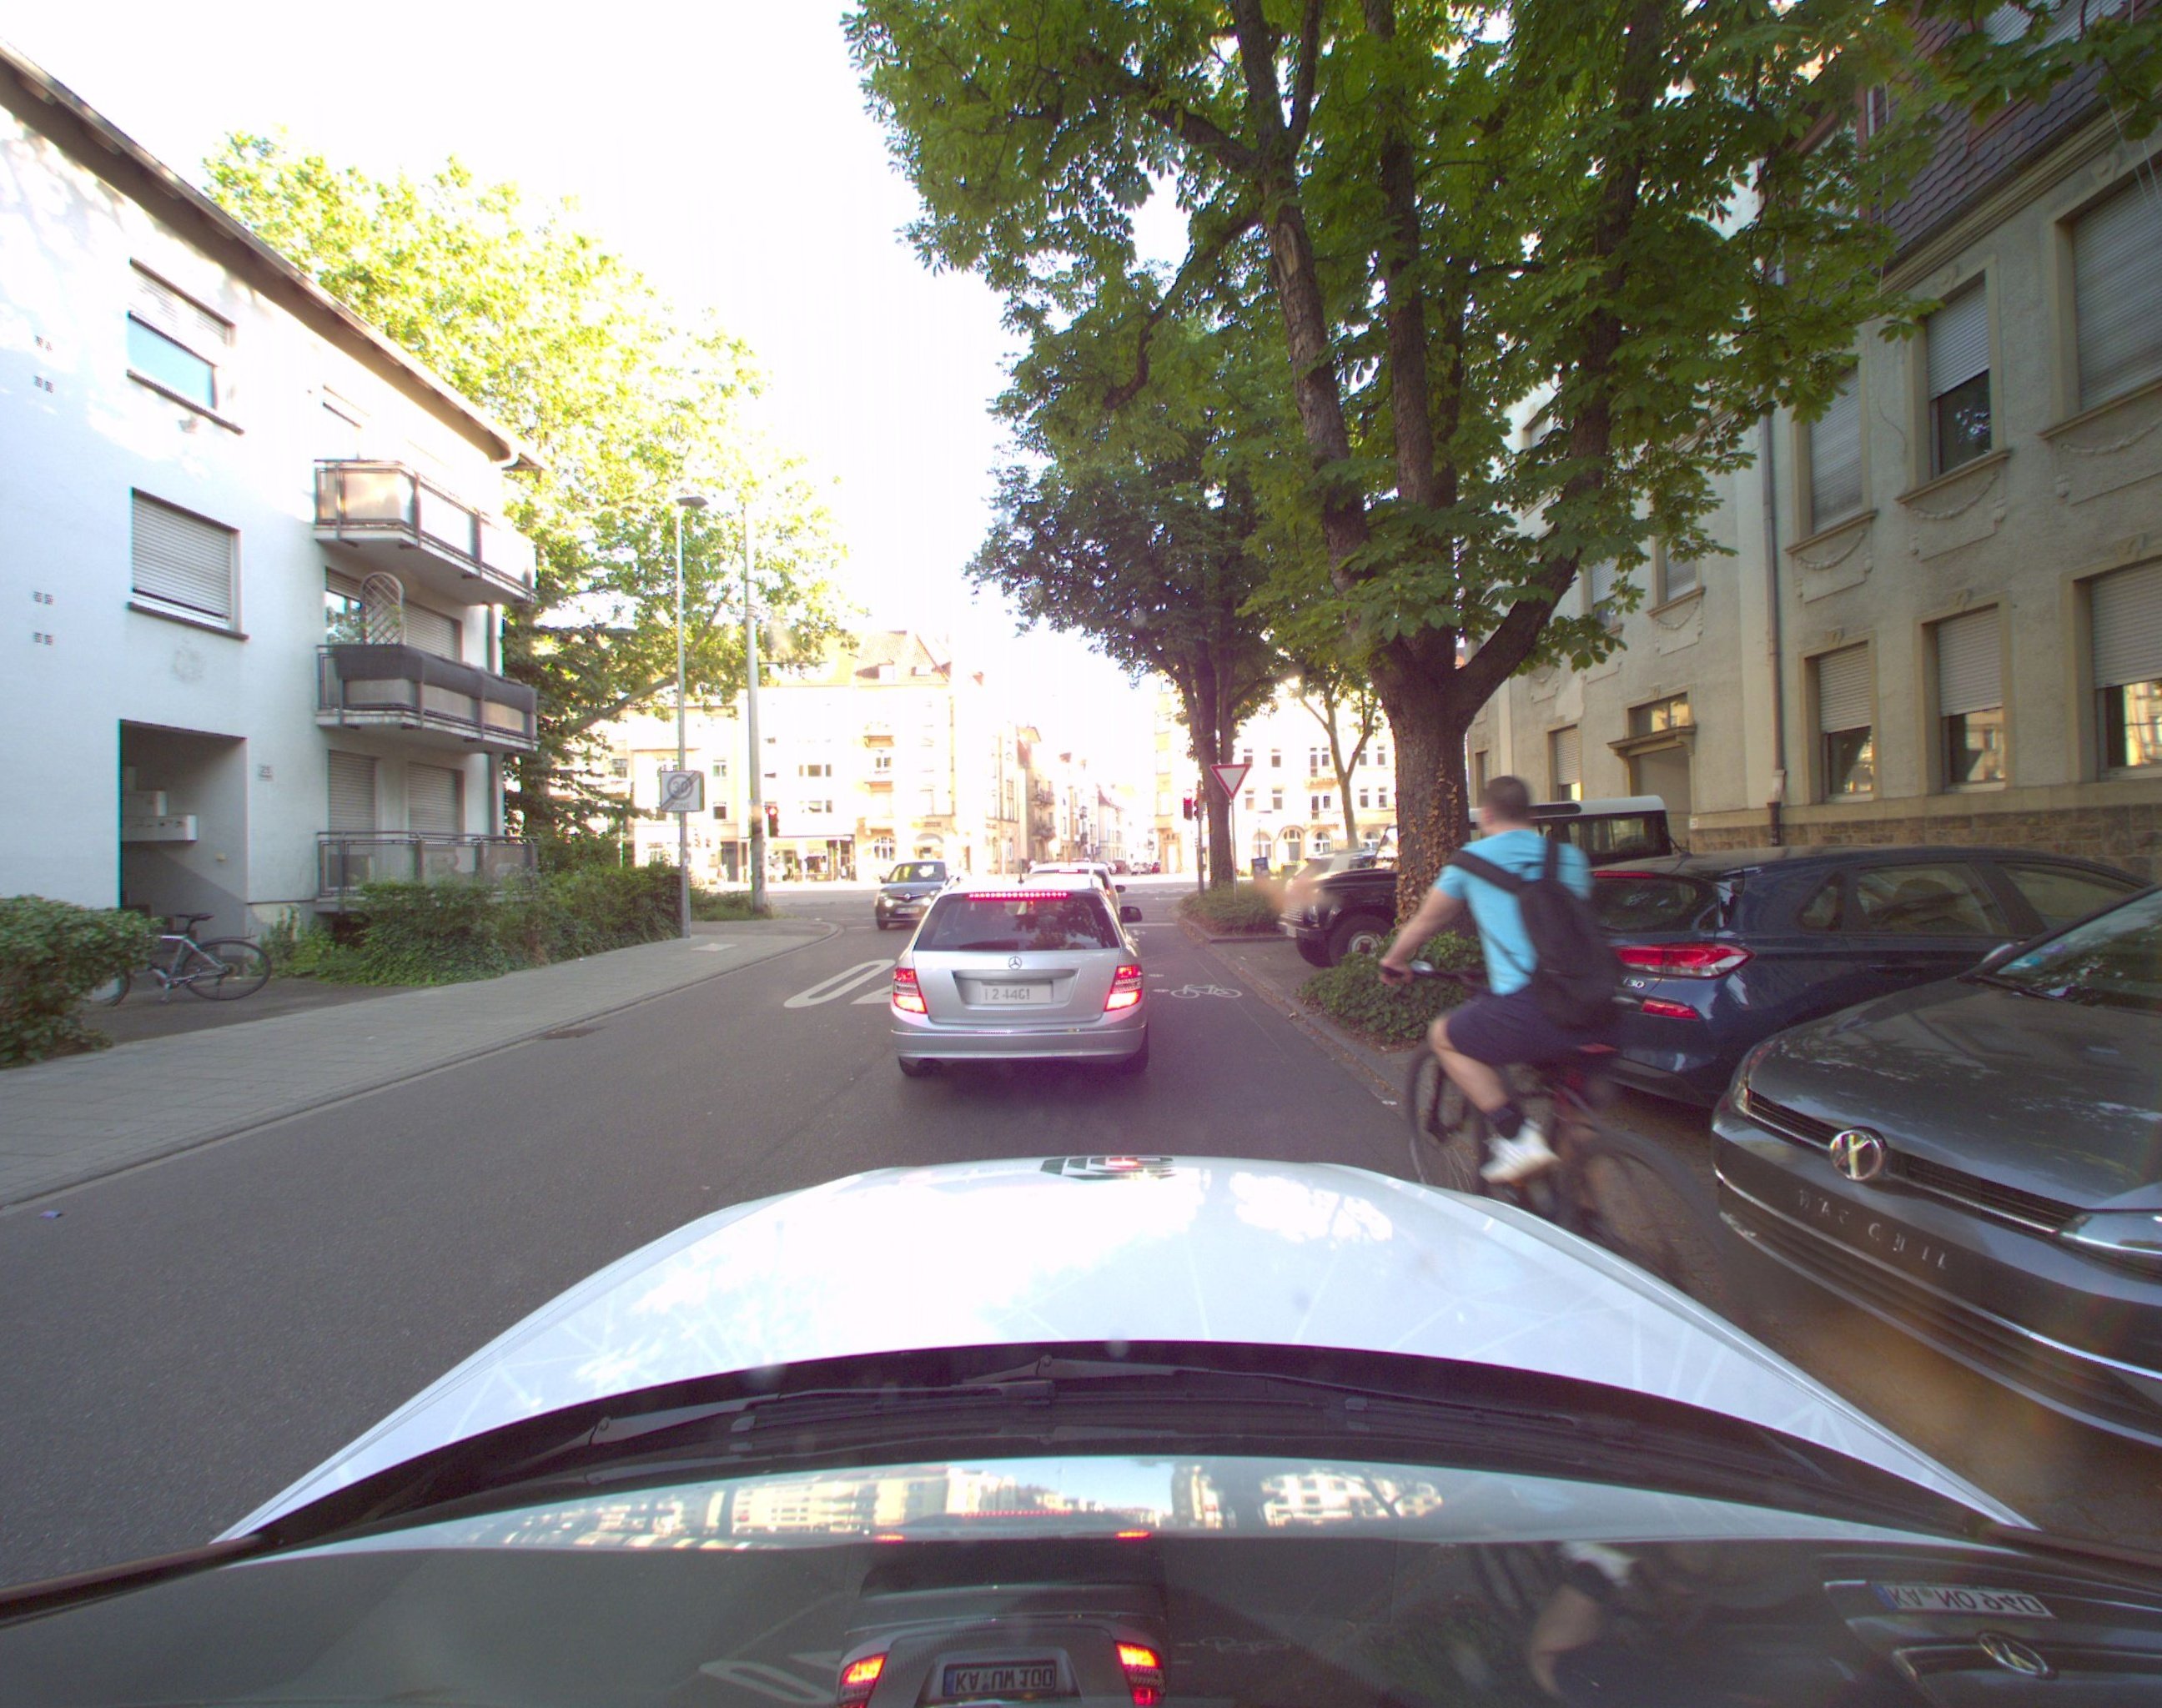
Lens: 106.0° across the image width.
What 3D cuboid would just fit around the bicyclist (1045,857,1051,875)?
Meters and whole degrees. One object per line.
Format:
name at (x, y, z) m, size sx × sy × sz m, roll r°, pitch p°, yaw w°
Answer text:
bicyclist at (-2.999, 1.078, 73.554) m, size 0.465 × 1.521 × 0.693 m, roll -1°, pitch 0°, yaw -2°

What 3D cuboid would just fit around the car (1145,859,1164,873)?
car at (9.227, 1.457, 102.030) m, size 1.709 × 1.478 × 4.016 m, roll -6°, pitch -1°, yaw 14°

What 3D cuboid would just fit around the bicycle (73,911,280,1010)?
bicycle at (-10.009, 1.154, 9.082) m, size 1.469 × 0.975 × 0.402 m, roll 2°, pitch -2°, yaw -38°

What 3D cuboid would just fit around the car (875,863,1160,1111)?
car at (-0.395, 0.808, 6.592) m, size 1.685 × 1.429 × 3.491 m, roll 0°, pitch 0°, yaw -1°

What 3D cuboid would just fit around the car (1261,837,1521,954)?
car at (4.884, 0.613, 13.116) m, size 3.475 × 1.586 × 1.708 m, roll -3°, pitch 0°, yaw -5°

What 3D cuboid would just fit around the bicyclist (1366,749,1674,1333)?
bicyclist at (1.482, 0.570, 2.902) m, size 0.644 × 1.775 × 0.831 m, roll 0°, pitch -1°, yaw 1°

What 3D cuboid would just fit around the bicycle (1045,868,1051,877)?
bicycle at (-2.976, 1.665, 73.515) m, size 0.567 × 0.834 × 1.565 m, roll -1°, pitch 0°, yaw -1°

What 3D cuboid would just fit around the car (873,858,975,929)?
car at (-3.698, 0.885, 19.720) m, size 1.609 × 1.501 × 3.594 m, roll -1°, pitch 0°, yaw 2°

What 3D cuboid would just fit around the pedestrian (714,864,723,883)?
pedestrian at (-28.408, 1.512, 63.895) m, size 0.566 × 1.511 × 0.499 m, roll -1°, pitch 0°, yaw -17°

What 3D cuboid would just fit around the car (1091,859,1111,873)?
car at (2.533, 1.533, 102.551) m, size 1.639 × 1.783 × 3.876 m, roll -1°, pitch -1°, yaw 13°

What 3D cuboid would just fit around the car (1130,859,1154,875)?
car at (6.457, 1.318, 85.876) m, size 1.708 × 1.478 × 4.016 m, roll -3°, pitch 0°, yaw 14°

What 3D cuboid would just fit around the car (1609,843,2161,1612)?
car at (4.069, 0.660, 2.324) m, size 4.037 × 1.422 × 1.627 m, roll -3°, pitch -1°, yaw -2°

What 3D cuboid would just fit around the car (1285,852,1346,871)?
car at (14.220, 0.467, 49.469) m, size 3.352 × 1.069 × 1.380 m, roll -2°, pitch 0°, yaw 0°

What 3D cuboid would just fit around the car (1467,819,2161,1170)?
car at (4.424, 0.612, 4.529) m, size 3.739 × 1.422 × 1.627 m, roll -3°, pitch -1°, yaw -2°

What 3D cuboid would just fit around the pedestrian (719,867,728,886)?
pedestrian at (-28.546, 1.769, 65.017) m, size 0.507 × 1.511 × 0.536 m, roll -1°, pitch 0°, yaw -2°

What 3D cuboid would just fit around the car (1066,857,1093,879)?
car at (-0.099, 1.355, 79.991) m, size 1.926 × 1.958 × 4.161 m, roll -2°, pitch 0°, yaw 10°

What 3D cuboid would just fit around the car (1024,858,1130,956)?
car at (-0.048, 0.783, 13.750) m, size 1.528 × 1.391 × 3.599 m, roll -1°, pitch 0°, yaw 0°

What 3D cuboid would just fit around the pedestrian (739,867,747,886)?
pedestrian at (-27.399, 1.818, 65.999) m, size 0.474 × 1.511 × 0.428 m, roll -1°, pitch 0°, yaw -18°

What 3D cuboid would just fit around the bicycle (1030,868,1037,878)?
bicycle at (-4.267, 1.702, 73.581) m, size 0.567 × 0.834 × 1.565 m, roll -1°, pitch 0°, yaw -1°

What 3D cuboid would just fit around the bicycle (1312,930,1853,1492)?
bicycle at (1.457, 0.928, 2.911) m, size 0.739 × 1.118 × 2.014 m, roll 0°, pitch 0°, yaw 2°

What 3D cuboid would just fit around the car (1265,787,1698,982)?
car at (4.789, 0.348, 10.193) m, size 4.478 × 1.956 × 1.792 m, roll -3°, pitch 0°, yaw -1°

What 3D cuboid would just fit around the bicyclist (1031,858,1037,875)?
bicyclist at (-4.282, 1.112, 73.624) m, size 0.465 × 1.514 × 0.655 m, roll -1°, pitch 0°, yaw -2°

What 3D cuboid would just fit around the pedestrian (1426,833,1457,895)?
pedestrian at (10.958, 0.310, 24.788) m, size 0.630 × 1.845 × 0.574 m, roll -1°, pitch 0°, yaw -2°
